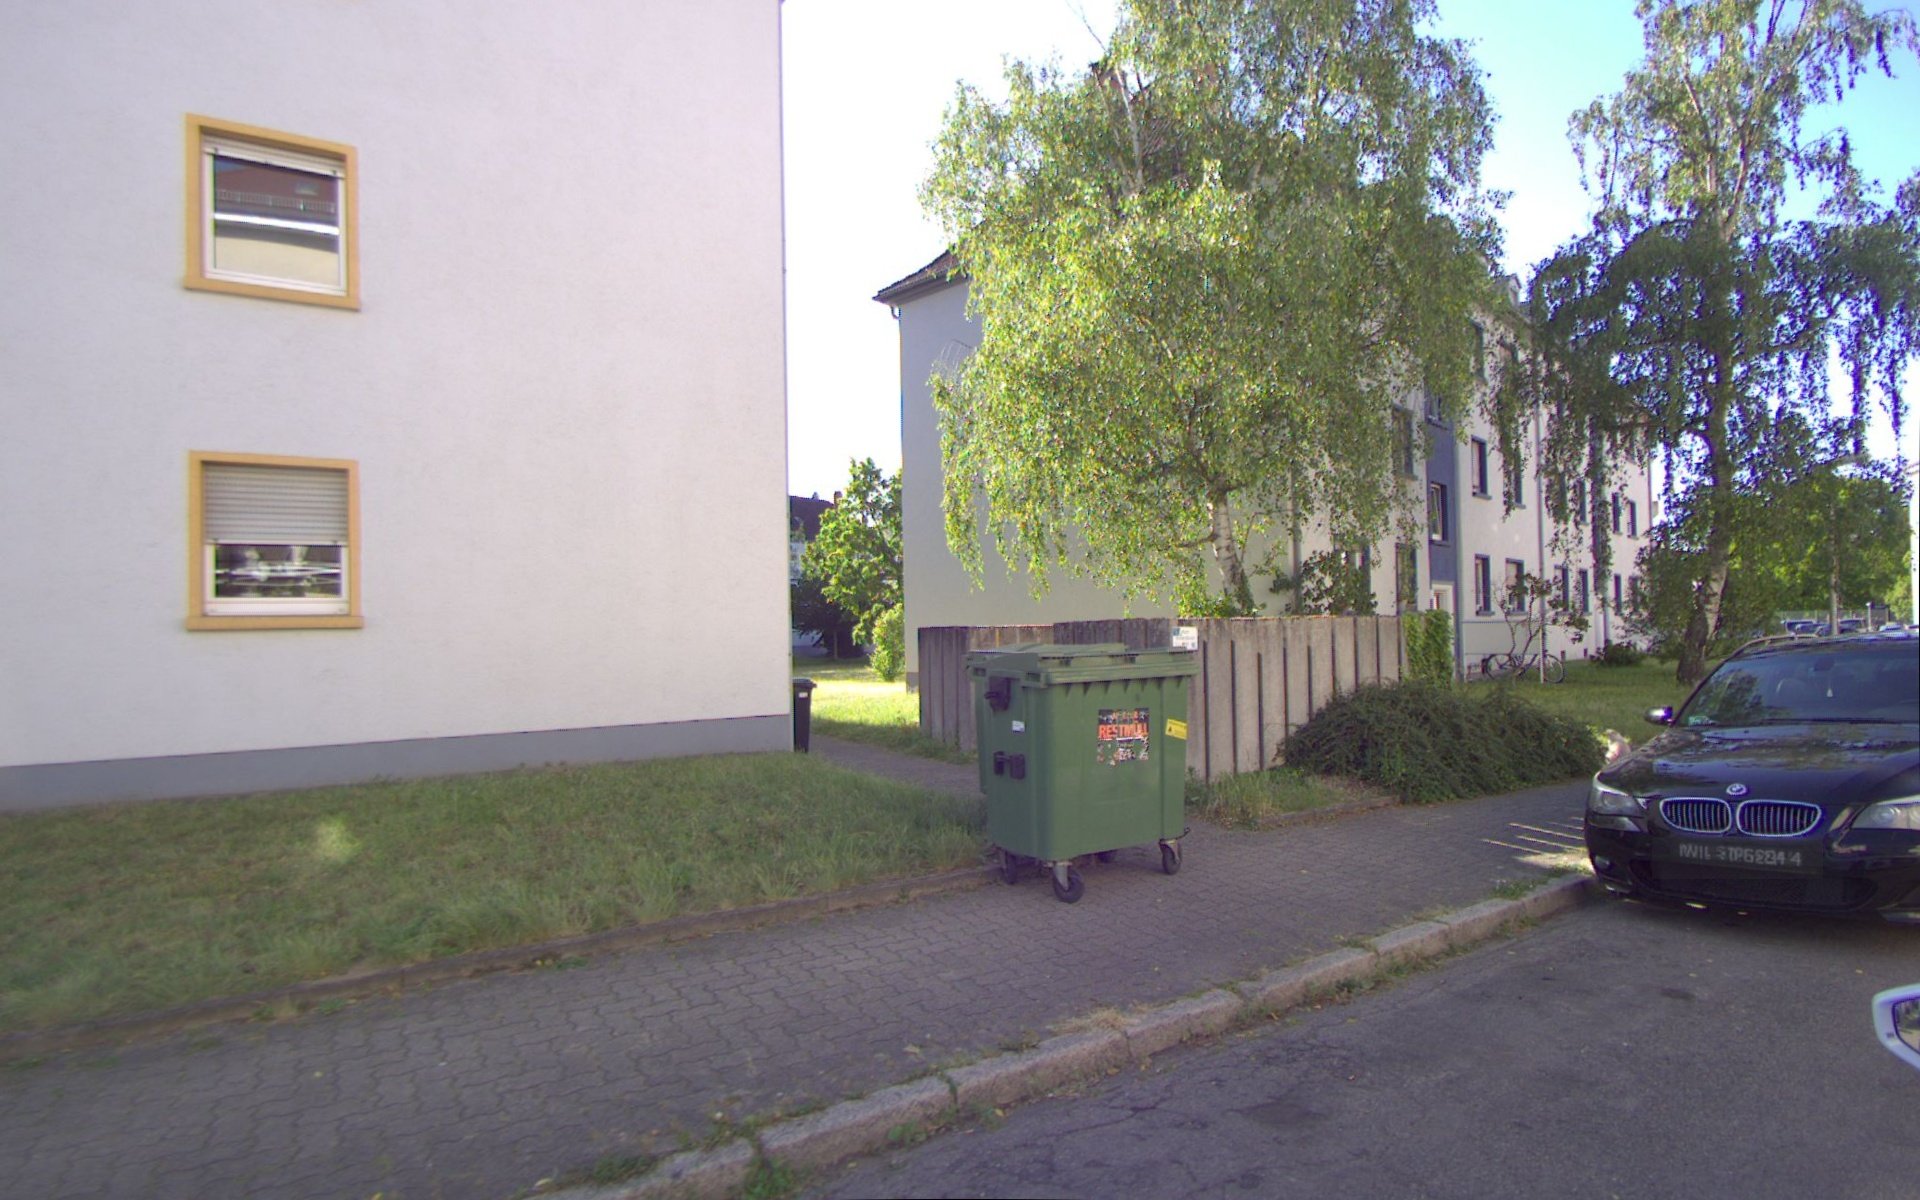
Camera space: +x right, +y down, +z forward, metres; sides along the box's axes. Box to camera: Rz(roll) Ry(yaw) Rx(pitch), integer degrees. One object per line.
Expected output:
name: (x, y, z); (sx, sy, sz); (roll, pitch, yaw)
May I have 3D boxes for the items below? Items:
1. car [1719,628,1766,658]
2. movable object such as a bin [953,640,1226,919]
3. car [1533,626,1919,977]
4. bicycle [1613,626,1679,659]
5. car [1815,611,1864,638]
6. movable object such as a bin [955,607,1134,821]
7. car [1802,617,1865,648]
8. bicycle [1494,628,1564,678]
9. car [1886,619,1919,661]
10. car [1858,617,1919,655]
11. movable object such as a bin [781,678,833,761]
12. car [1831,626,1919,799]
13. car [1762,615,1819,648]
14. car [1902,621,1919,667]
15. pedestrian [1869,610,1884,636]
car: (57.562, 3.168, 73.947); (1.965, 2.039, 4.446); (-4, -4, 30)
movable object such as a bin: (0.769, 0.962, 5.927); (1.402, 1.411, 0.771); (0, -2, -33)
car: (5.513, 0.922, 6.128); (4.575, 1.471, 1.668); (0, -5, -36)
bicycle: (23.882, 1.472, 34.991); (0.564, 1.093, 1.805); (0, 0, -40)
car: (63.219, 1.781, 72.259); (1.740, 1.762, 4.086); (-4, -4, 30)
movable object such as a bin: (0.585, 0.768, 7.323); (0.757, 1.398, 1.215); (0, -1, -27)
car: (44.918, 1.687, 51.727); (1.635, 1.462, 3.864); (-4, -4, 30)
bicycle: (13.771, 1.296, 24.333); (1.393, 1.167, 0.413); (-4, -3, 43)
car: (36.318, 1.475, 37.987); (1.461, 1.495, 3.617); (-7, -6, 37)
car: (39.494, 1.498, 42.379); (1.721, 1.449, 4.584); (-6, -5, 35)
movable object such as a bin: (-1.871, 1.440, 12.277); (0.476, 0.944, 0.551); (0, -1, -28)
car: (9.950, 0.941, 9.604); (4.244, 1.461, 1.665); (1, -6, -39)
car: (50.020, 1.939, 60.588); (1.869, 1.879, 4.188); (-3, -4, 30)
car: (32.978, 1.449, 33.590); (1.549, 1.483, 4.246); (-5, -4, 36)
pedestrian: (65.639, 1.645, 71.930); (0.647, 1.839, 0.611); (-5, -4, 40)
